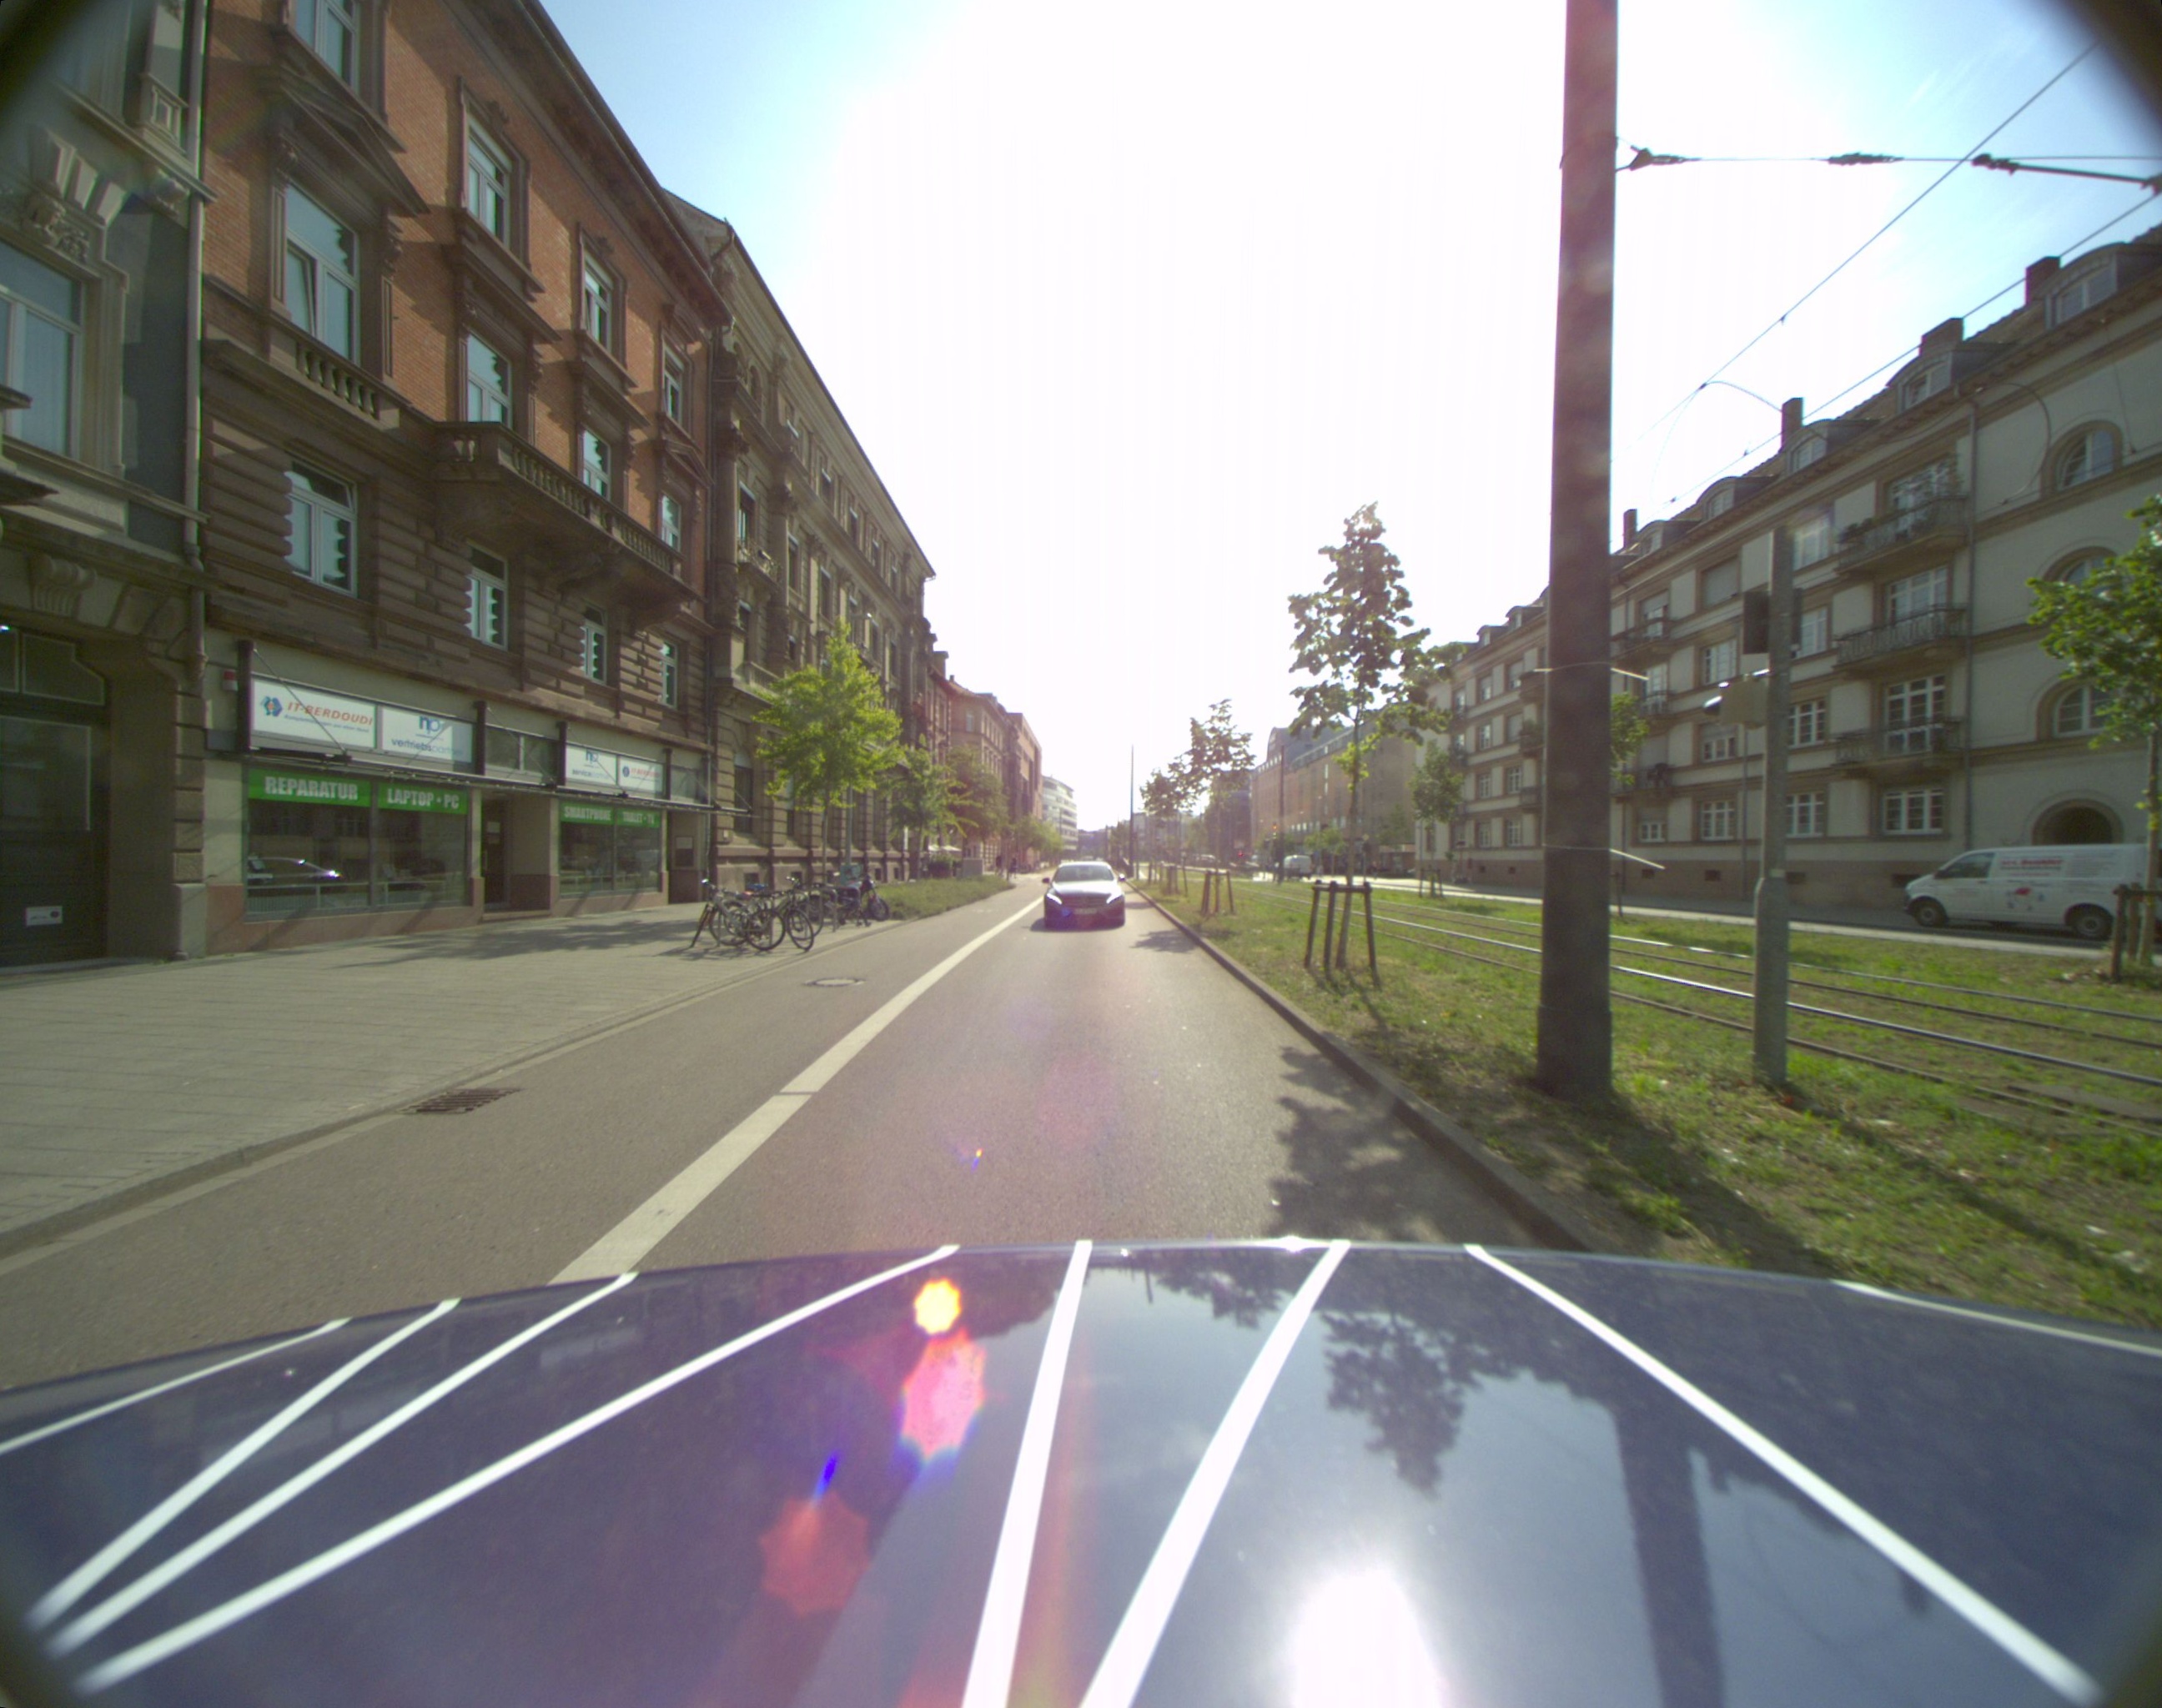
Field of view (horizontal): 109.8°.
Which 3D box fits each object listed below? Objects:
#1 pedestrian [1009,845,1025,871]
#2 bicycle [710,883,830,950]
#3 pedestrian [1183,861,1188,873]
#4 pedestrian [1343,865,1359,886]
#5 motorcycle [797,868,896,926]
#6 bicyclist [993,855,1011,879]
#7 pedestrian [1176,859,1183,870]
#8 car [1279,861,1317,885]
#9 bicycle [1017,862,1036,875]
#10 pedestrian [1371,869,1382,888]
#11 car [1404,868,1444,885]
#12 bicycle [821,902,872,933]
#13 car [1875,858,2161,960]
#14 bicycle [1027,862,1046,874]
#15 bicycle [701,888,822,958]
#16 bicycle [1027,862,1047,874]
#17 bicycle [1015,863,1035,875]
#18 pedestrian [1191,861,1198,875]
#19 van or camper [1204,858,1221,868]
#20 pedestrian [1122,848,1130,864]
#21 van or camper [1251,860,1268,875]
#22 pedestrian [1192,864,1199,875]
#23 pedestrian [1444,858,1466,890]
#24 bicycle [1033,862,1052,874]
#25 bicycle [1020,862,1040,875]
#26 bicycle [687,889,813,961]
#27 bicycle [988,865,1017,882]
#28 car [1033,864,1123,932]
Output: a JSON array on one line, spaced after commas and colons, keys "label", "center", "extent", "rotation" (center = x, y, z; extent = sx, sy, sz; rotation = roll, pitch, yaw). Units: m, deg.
[{"label": "pedestrian", "center": [-4.560, 0.300, 54.069], "extent": [0.992, 1.795, 0.865], "rotation": [2, -1, 3]}, {"label": "bicycle", "center": [-5.490, 1.094, 13.502], "extent": [1.812, 1.089, 0.671], "rotation": [2, 0, -4]}, {"label": "pedestrian", "center": [15.915, 2.013, 115.906], "extent": [0.806, 1.875, 0.555], "rotation": [1, 0, 5]}, {"label": "pedestrian", "center": [23.950, 1.914, 67.359], "extent": [1.073, 1.856, 0.862], "rotation": [0, 1, -26]}, {"label": "motorcycle", "center": [-5.438, 1.000, 17.668], "extent": [2.046, 1.279, 0.703], "rotation": [3, -1, -34]}, {"label": "bicyclist", "center": [-5.061, 0.822, 48.648], "extent": [0.929, 1.473, 0.586], "rotation": [3, 1, 22]}, {"label": "pedestrian", "center": [16.318, 1.707, 126.230], "extent": [0.787, 1.736, 0.833], "rotation": [2, 1, -35]}, {"label": "car", "center": [18.554, 1.585, 65.195], "extent": [1.998, 1.884, 5.048], "rotation": [1, 0, 3]}, {"label": "bicycle", "center": [-5.144, 1.376, 71.695], "extent": [1.756, 1.081, 0.583], "rotation": [2, 0, 5]}, {"label": "pedestrian", "center": [25.761, 2.131, 66.269], "extent": [0.678, 1.574, 0.809], "rotation": [1, 0, 34]}, {"label": "car", "center": [34.593, 2.204, 76.730], "extent": [1.768, 1.590, 4.554], "rotation": [1, 0, -3]}, {"label": "bicycle", "center": [-5.041, 1.365, 16.362], "extent": [0.960, 0.606, 0.360], "rotation": [2, 0, 3]}, {"label": "car", "center": [21.411, 1.065, 16.988], "extent": [1.998, 1.906, 5.154], "rotation": [-1, 0, 2]}, {"label": "bicycle", "center": [-4.427, 1.413, 75.526], "extent": [1.761, 1.081, 0.657], "rotation": [4, 0, -8]}, {"label": "bicycle", "center": [-5.192, 1.109, 12.382], "extent": [1.789, 1.048, 0.373], "rotation": [2, 0, 0]}, {"label": "bicycle", "center": [-4.336, 1.385, 74.326], "extent": [1.763, 1.081, 0.671], "rotation": [4, 0, -21]}, {"label": "bicycle", "center": [-5.240, 1.382, 71.096], "extent": [1.756, 1.081, 0.583], "rotation": [2, 0, 5]}, {"label": "pedestrian", "center": [14.854, 1.800, 99.443], "extent": [0.740, 1.861, 0.939], "rotation": [0, 0, 3]}, {"label": "van or camper", "center": [31.622, 2.140, 182.993], "extent": [3.980, 2.198, 1.937], "rotation": [0, 0, 11]}, {"label": "pedestrian", "center": [5.603, 0.225, 94.639], "extent": [0.835, 2.002, 1.028], "rotation": [-2, 1, -2]}, {"label": "van or camper", "center": [33.648, 2.536, 143.174], "extent": [1.998, 2.785, 5.353], "rotation": [1, 0, 2]}, {"label": "pedestrian", "center": [16.218, 2.248, 107.540], "extent": [0.679, 1.521, 0.810], "rotation": [0, 0, -30]}, {"label": "pedestrian", "center": [24.338, 1.310, 49.453], "extent": [0.844, 2.056, 1.157], "rotation": [-1, 0, 2]}, {"label": "bicycle", "center": [-3.929, 1.452, 77.081], "extent": [1.761, 1.081, 0.610], "rotation": [4, 0, -8]}, {"label": "bicycle", "center": [-4.856, 1.380, 72.943], "extent": [1.758, 1.081, 0.669], "rotation": [4, 0, 7]}, {"label": "bicycle", "center": [-5.206, 1.110, 11.987], "extent": [1.789, 1.048, 0.373], "rotation": [2, 0, 0]}, {"label": "bicycle", "center": [-5.040, 1.240, 48.643], "extent": [1.780, 0.947, 0.508], "rotation": [3, 1, 22]}, {"label": "car", "center": [-0.027, 0.966, 18.404], "extent": [1.907, 1.384, 4.236], "rotation": [-1, 0, 1]}]
